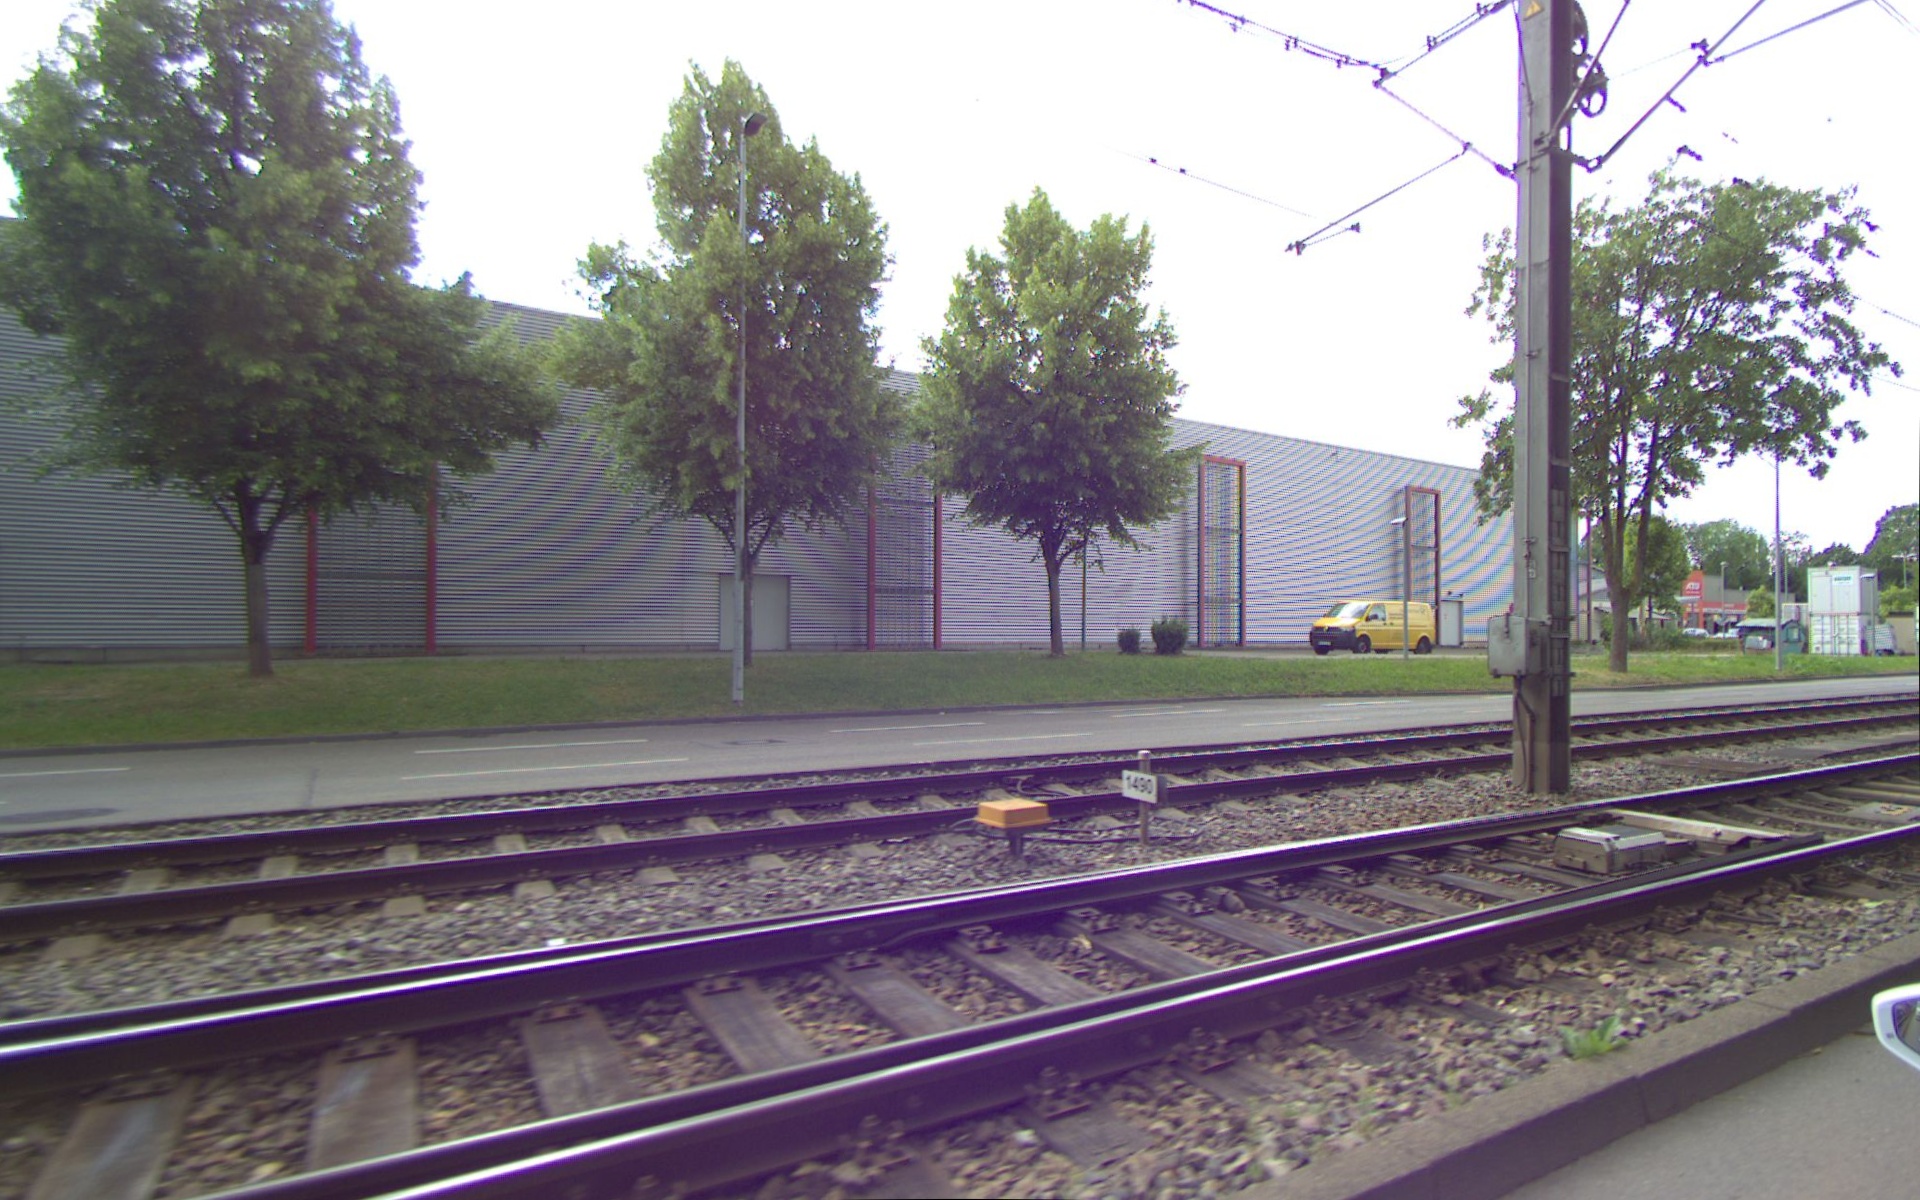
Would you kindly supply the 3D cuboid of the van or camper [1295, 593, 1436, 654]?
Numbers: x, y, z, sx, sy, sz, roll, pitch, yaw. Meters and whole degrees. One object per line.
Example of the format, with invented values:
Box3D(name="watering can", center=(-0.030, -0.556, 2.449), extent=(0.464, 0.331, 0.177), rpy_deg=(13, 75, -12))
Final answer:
Box3D(name="van or camper", center=(14.441, 0.854, 35.652), extent=(5.187, 2.040, 2.091), rpy_deg=(1, -1, -33))
